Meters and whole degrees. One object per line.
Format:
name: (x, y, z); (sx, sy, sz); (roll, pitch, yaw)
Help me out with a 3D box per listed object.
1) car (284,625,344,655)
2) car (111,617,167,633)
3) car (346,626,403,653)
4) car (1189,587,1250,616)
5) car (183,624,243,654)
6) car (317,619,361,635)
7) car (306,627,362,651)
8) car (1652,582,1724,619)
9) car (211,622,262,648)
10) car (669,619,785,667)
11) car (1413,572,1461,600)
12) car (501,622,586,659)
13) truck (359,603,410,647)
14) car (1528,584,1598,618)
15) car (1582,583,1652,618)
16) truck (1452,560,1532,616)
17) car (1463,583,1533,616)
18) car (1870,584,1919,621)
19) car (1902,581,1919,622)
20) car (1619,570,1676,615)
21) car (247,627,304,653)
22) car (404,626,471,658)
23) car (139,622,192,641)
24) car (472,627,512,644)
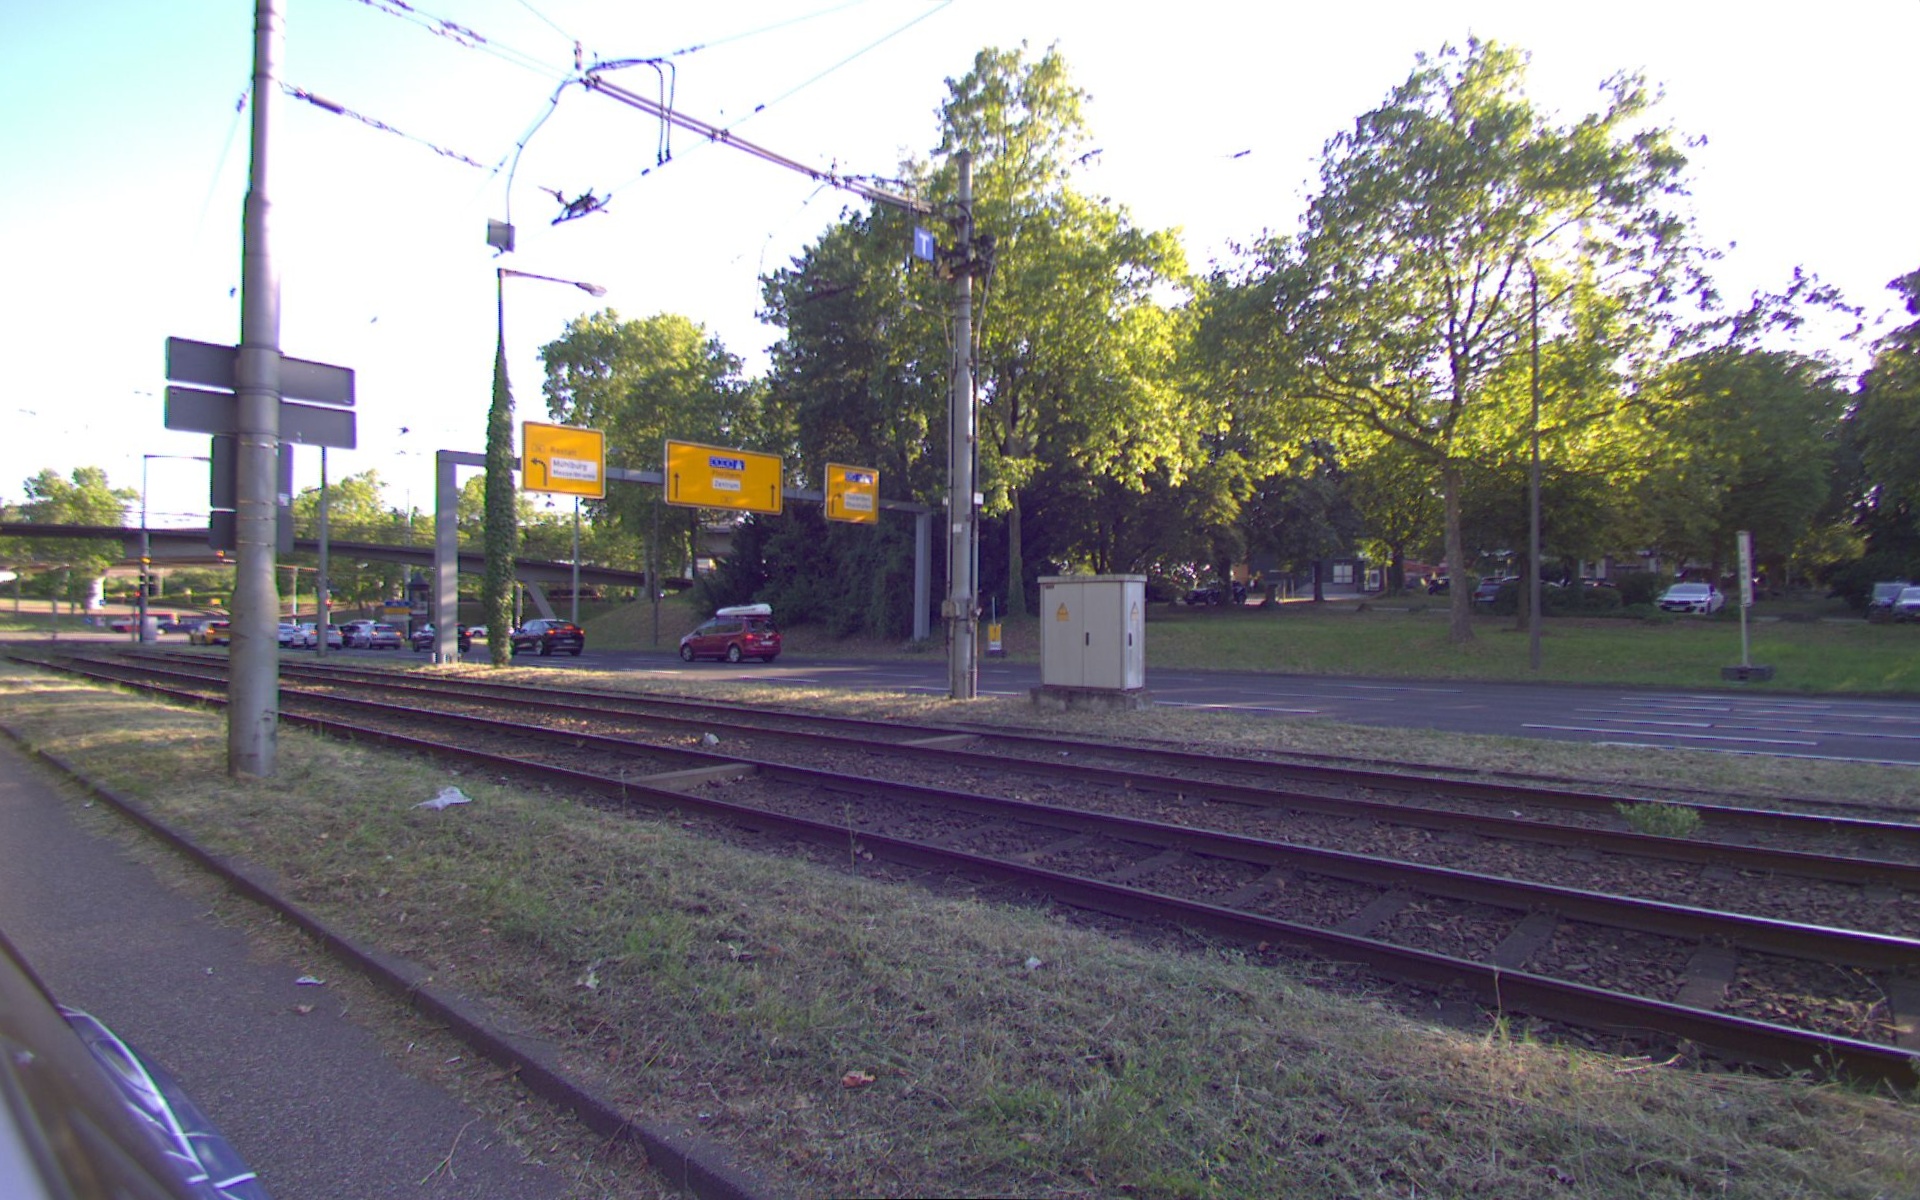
car: (-35.741, 2.200, 55.959); (3.997, 1.556, 1.744); (-1, -1, 40)
car: (-76.910, 2.333, 94.827); (3.810, 1.421, 1.817); (-1, 0, -30)
car: (-34.962, 2.316, 60.416); (3.998, 1.556, 1.789); (-1, -1, 41)
car: (15.395, 0.059, 59.961); (1.791, 1.657, 3.942); (-1, -1, 44)
car: (-40.805, 2.119, 55.259); (3.997, 1.556, 1.744); (-1, -1, 40)
car: (-62.490, 2.702, 101.838); (3.728, 1.510, 1.769); (-1, 0, -32)
car: (-39.763, 2.440, 64.232); (4.224, 1.435, 1.844); (-1, -1, 40)
car: (31.561, 0.000, 43.848); (1.942, 1.521, 4.039); (0, 0, 44)
car: (-45.838, 2.178, 64.047); (4.228, 1.561, 1.892); (-1, -2, 44)
car: (-8.462, 1.510, 36.559); (4.306, 1.647, 1.819); (-1, -2, 39)
car: (33.556, -0.997, 71.065); (2.290, 1.864, 5.214); (-1, 1, 34)
car: (-18.474, 1.762, 44.814); (4.332, 1.556, 1.713); (-1, -2, 41)
truck: (-40.304, 1.736, 70.771); (2.248, 2.901, 6.895); (0, -1, -37)
car: (28.425, 0.013, 47.661); (1.942, 1.521, 4.039); (0, 0, 44)
car: (30.035, 0.004, 46.224); (1.942, 1.521, 4.039); (0, 0, 44)
truck: (31.742, -0.691, 60.288); (2.503, 3.191, 6.137); (0, 0, 45)
car: (26.169, -0.046, 49.189); (1.942, 1.521, 4.039); (0, 0, 44)
car: (43.968, 0.092, 47.230); (3.998, 1.628, 1.864); (-1, 0, -43)
car: (37.580, 0.034, 38.897); (1.942, 1.521, 4.039); (0, 0, 44)
car: (36.885, -0.403, 54.243); (2.161, 2.320, 4.348); (0, 0, 40)
car: (-40.575, 2.331, 59.958); (4.226, 1.435, 1.893); (-1, -1, 42)
car: (-27.019, 2.161, 52.289); (3.971, 1.569, 1.733); (-2, -3, 42)
car: (-71.793, 2.824, 91.489); (3.733, 1.510, 1.767); (-1, 0, -40)
car: (-48.503, 3.688, 104.927); (3.747, 1.591, 1.683); (-1, 0, -26)
